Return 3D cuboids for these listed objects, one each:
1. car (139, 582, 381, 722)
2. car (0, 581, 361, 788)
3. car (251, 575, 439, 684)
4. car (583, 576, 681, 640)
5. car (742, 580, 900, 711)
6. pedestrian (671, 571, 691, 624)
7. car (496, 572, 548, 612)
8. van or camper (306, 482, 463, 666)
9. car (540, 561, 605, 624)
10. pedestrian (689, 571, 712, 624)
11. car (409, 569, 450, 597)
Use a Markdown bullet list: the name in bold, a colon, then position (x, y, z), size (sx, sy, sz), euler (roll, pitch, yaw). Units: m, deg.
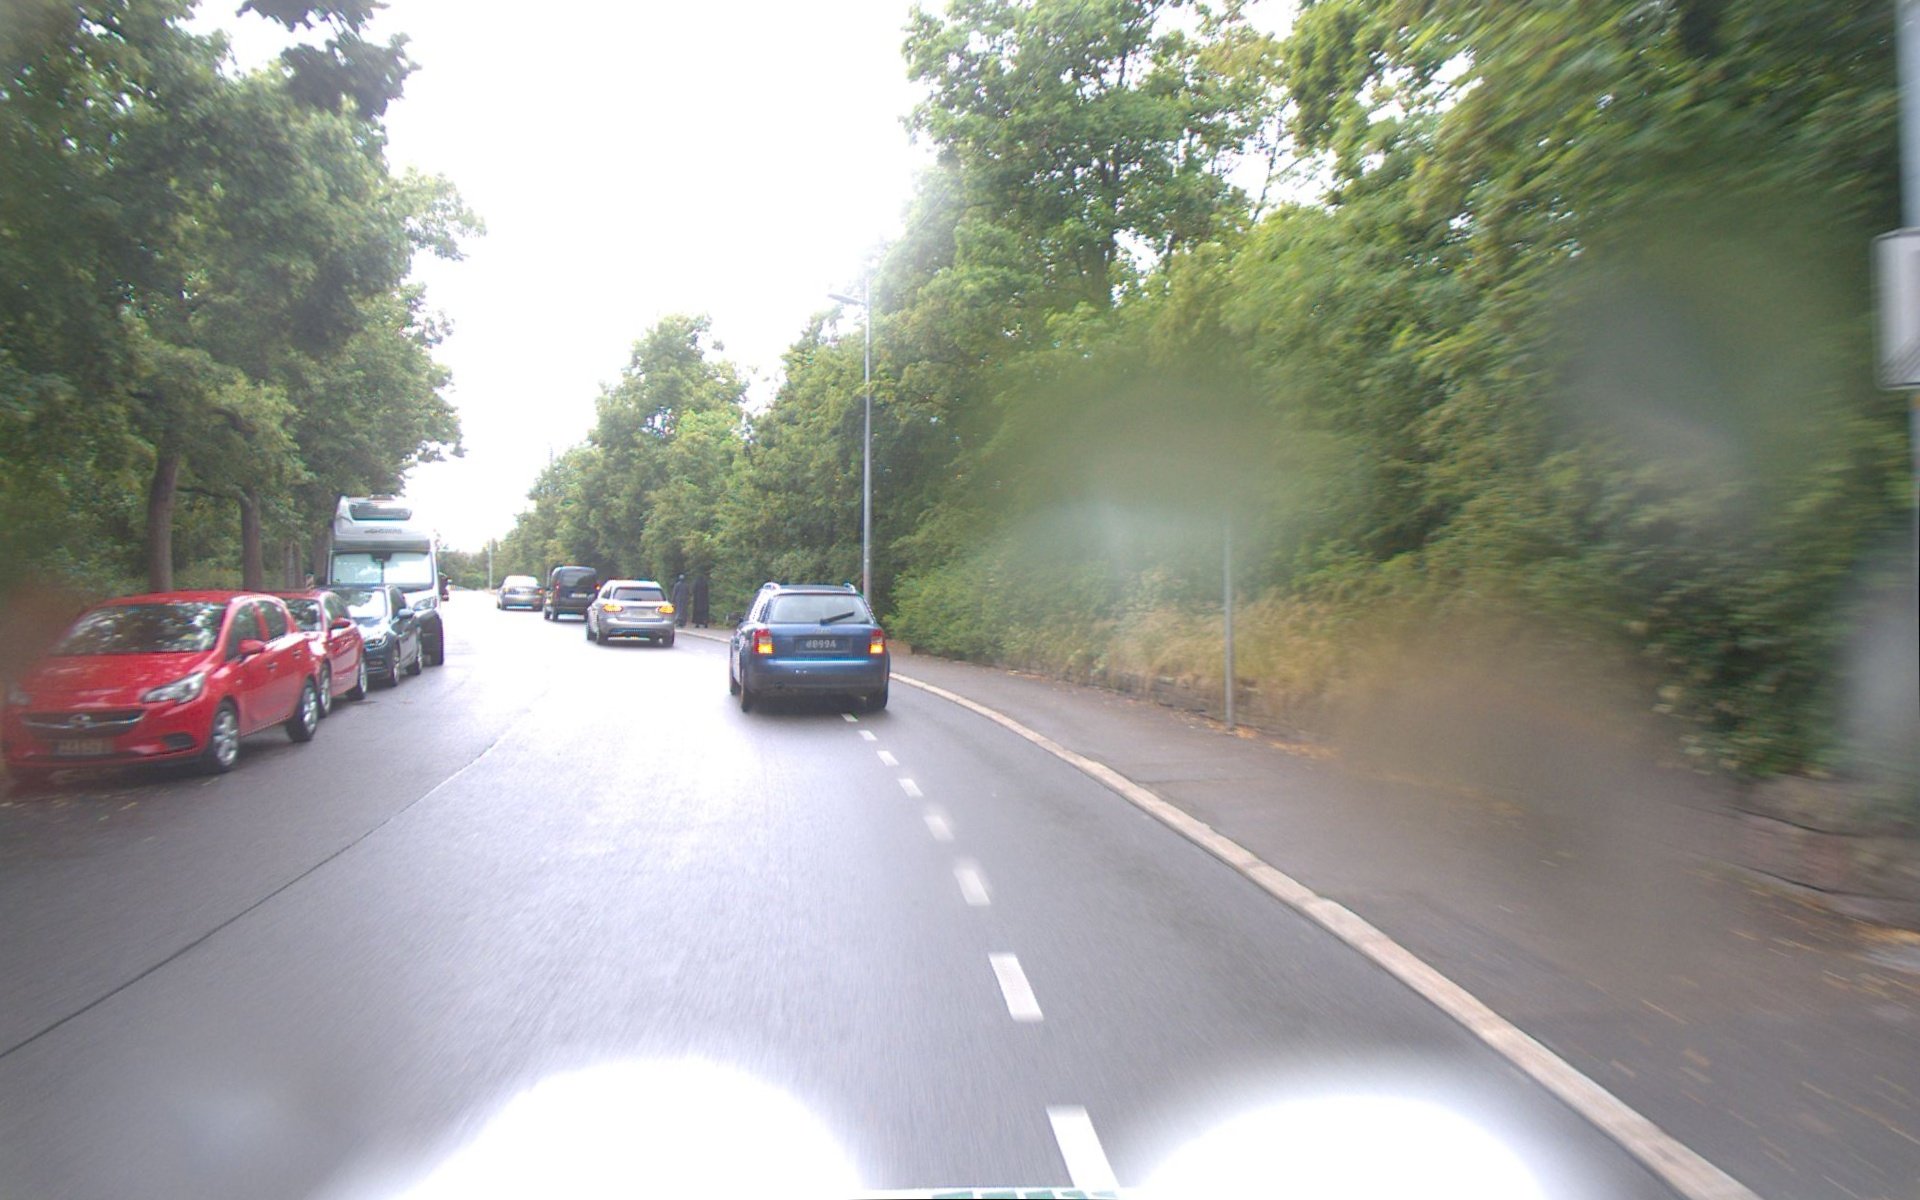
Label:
- **car**: position (-8.361, 0.547, 20.082), size (1.919, 1.432, 3.535), euler (-3, 1, -11)
- **car**: position (-7.102, 0.636, 15.094), size (1.916, 1.486, 4.570), euler (-2, 1, -5)
- **car**: position (-9.255, 0.376, 25.236), size (1.919, 1.432, 4.197), euler (-3, 1, -10)
- **car**: position (-7.793, 0.160, 39.061), size (1.861, 1.413, 3.980), euler (0, 1, -18)
- **car**: position (-1.792, 0.475, 20.264), size (1.714, 1.432, 3.993), euler (0, 1, -8)
- **pedestrian**: position (-8.424, -0.077, 49.907), size (0.543, 1.594, 0.485), euler (-1, 1, -16)
- **car**: position (-18.862, -0.351, 71.092), size (1.796, 1.645, 3.762), euler (-1, 1, -21)
- **van or camper**: position (-10.888, -0.488, 31.359), size (2.468, 3.079, 6.524), euler (-2, 1, -19)
- **car**: position (-13.417, -0.232, 57.111), size (1.761, 1.987, 3.979), euler (-3, 0, -18)
- **pedestrian**: position (-7.845, -0.085, 50.007), size (0.585, 1.594, 0.666), euler (0, 0, -16)
- **car**: position (-27.410, -0.856, 85.381), size (1.855, 1.427, 4.231), euler (0, 0, -20)
